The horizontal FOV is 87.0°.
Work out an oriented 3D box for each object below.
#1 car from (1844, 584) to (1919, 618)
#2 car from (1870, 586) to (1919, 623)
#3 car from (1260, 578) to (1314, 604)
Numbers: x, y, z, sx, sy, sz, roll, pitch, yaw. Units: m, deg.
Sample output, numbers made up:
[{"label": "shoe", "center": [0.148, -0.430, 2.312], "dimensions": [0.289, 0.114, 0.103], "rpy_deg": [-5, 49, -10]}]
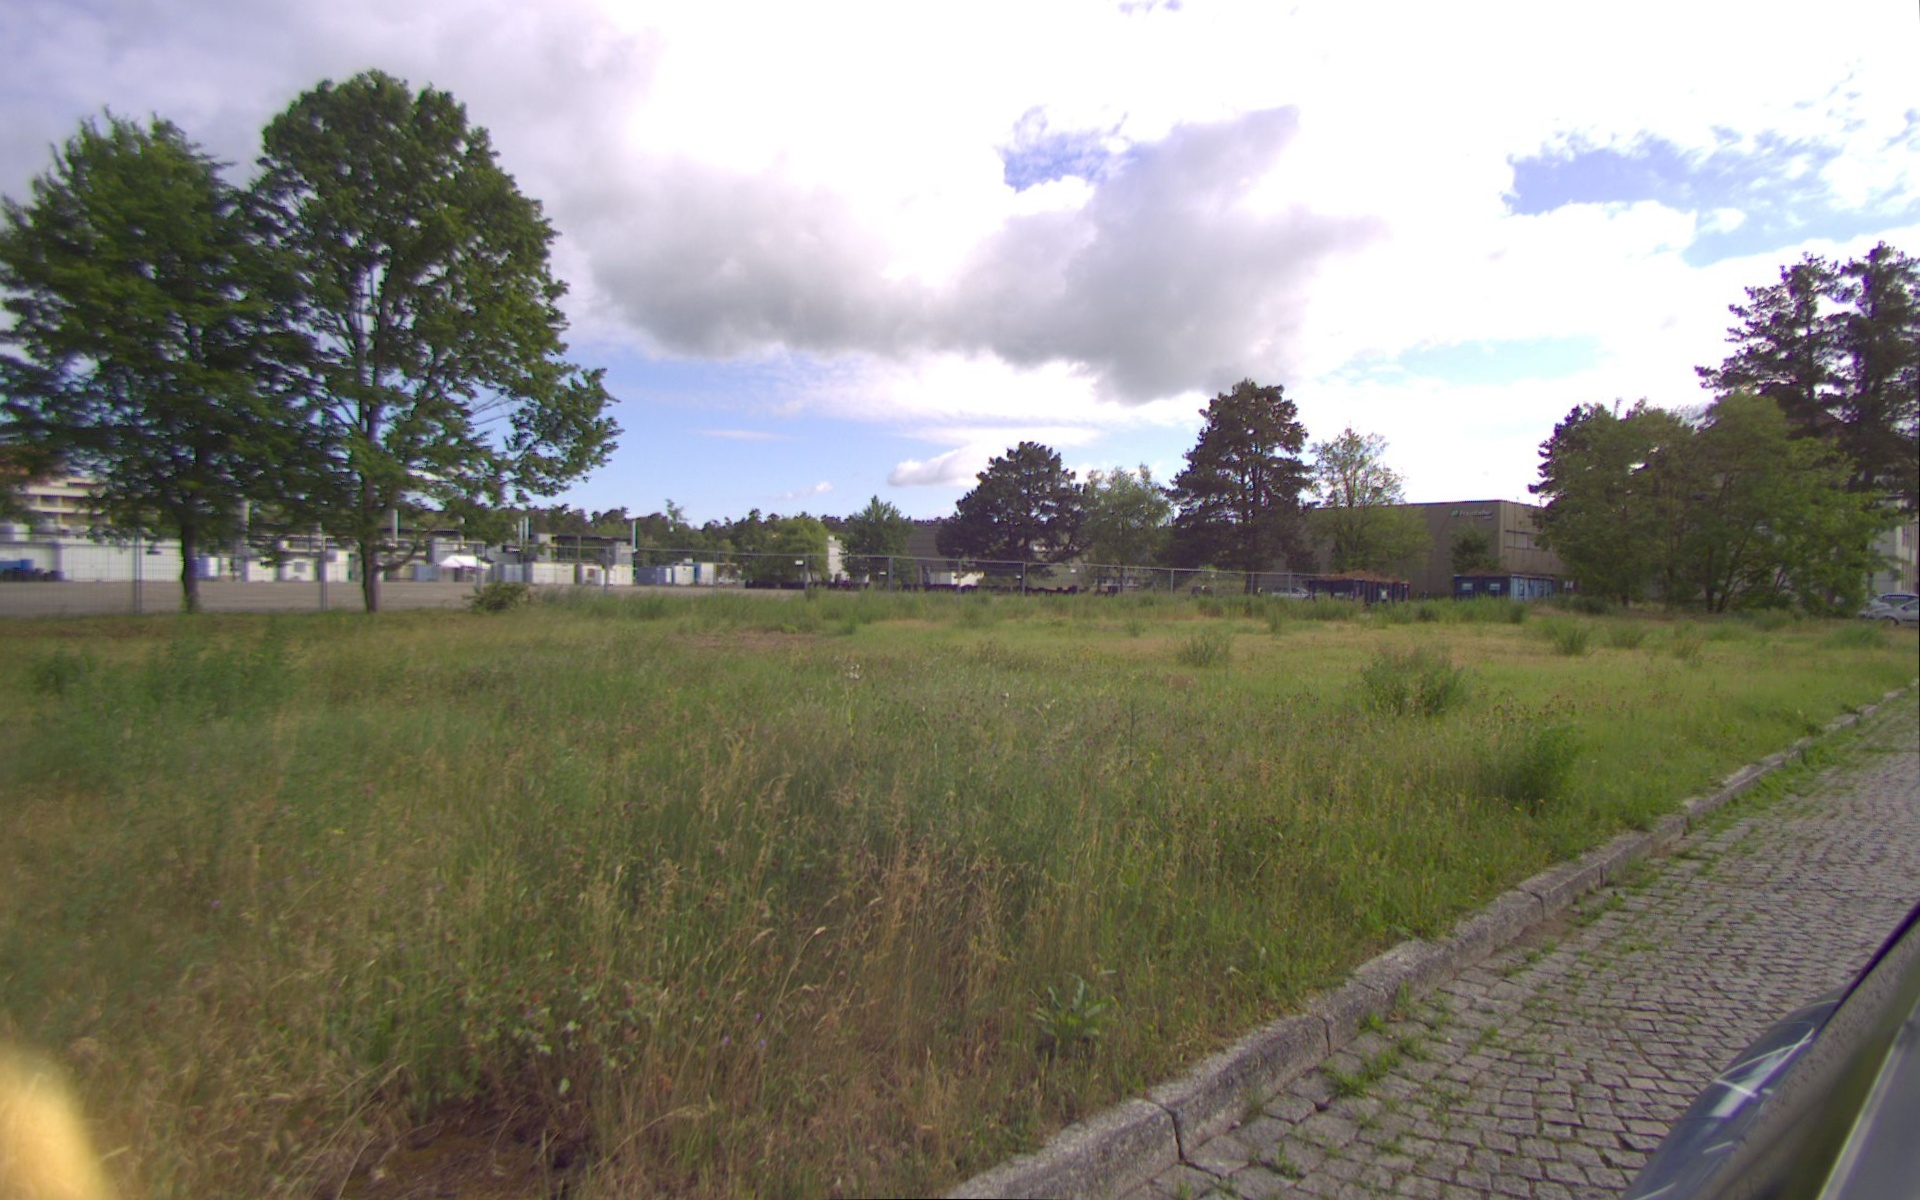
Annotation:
[{"label": "car", "center": [41.962, 0.049, 45.171], "dimensions": [3.715, 1.456, 1.603], "rpy_deg": [-1, 0, 41]}, {"label": "car", "center": [38.975, 0.155, 40.495], "dimensions": [3.720, 1.456, 1.601], "rpy_deg": [-1, 1, 45]}, {"label": "car", "center": [26.076, -0.724, 80.852], "dimensions": [3.708, 1.928, 1.995], "rpy_deg": [2, 0, 8]}]
